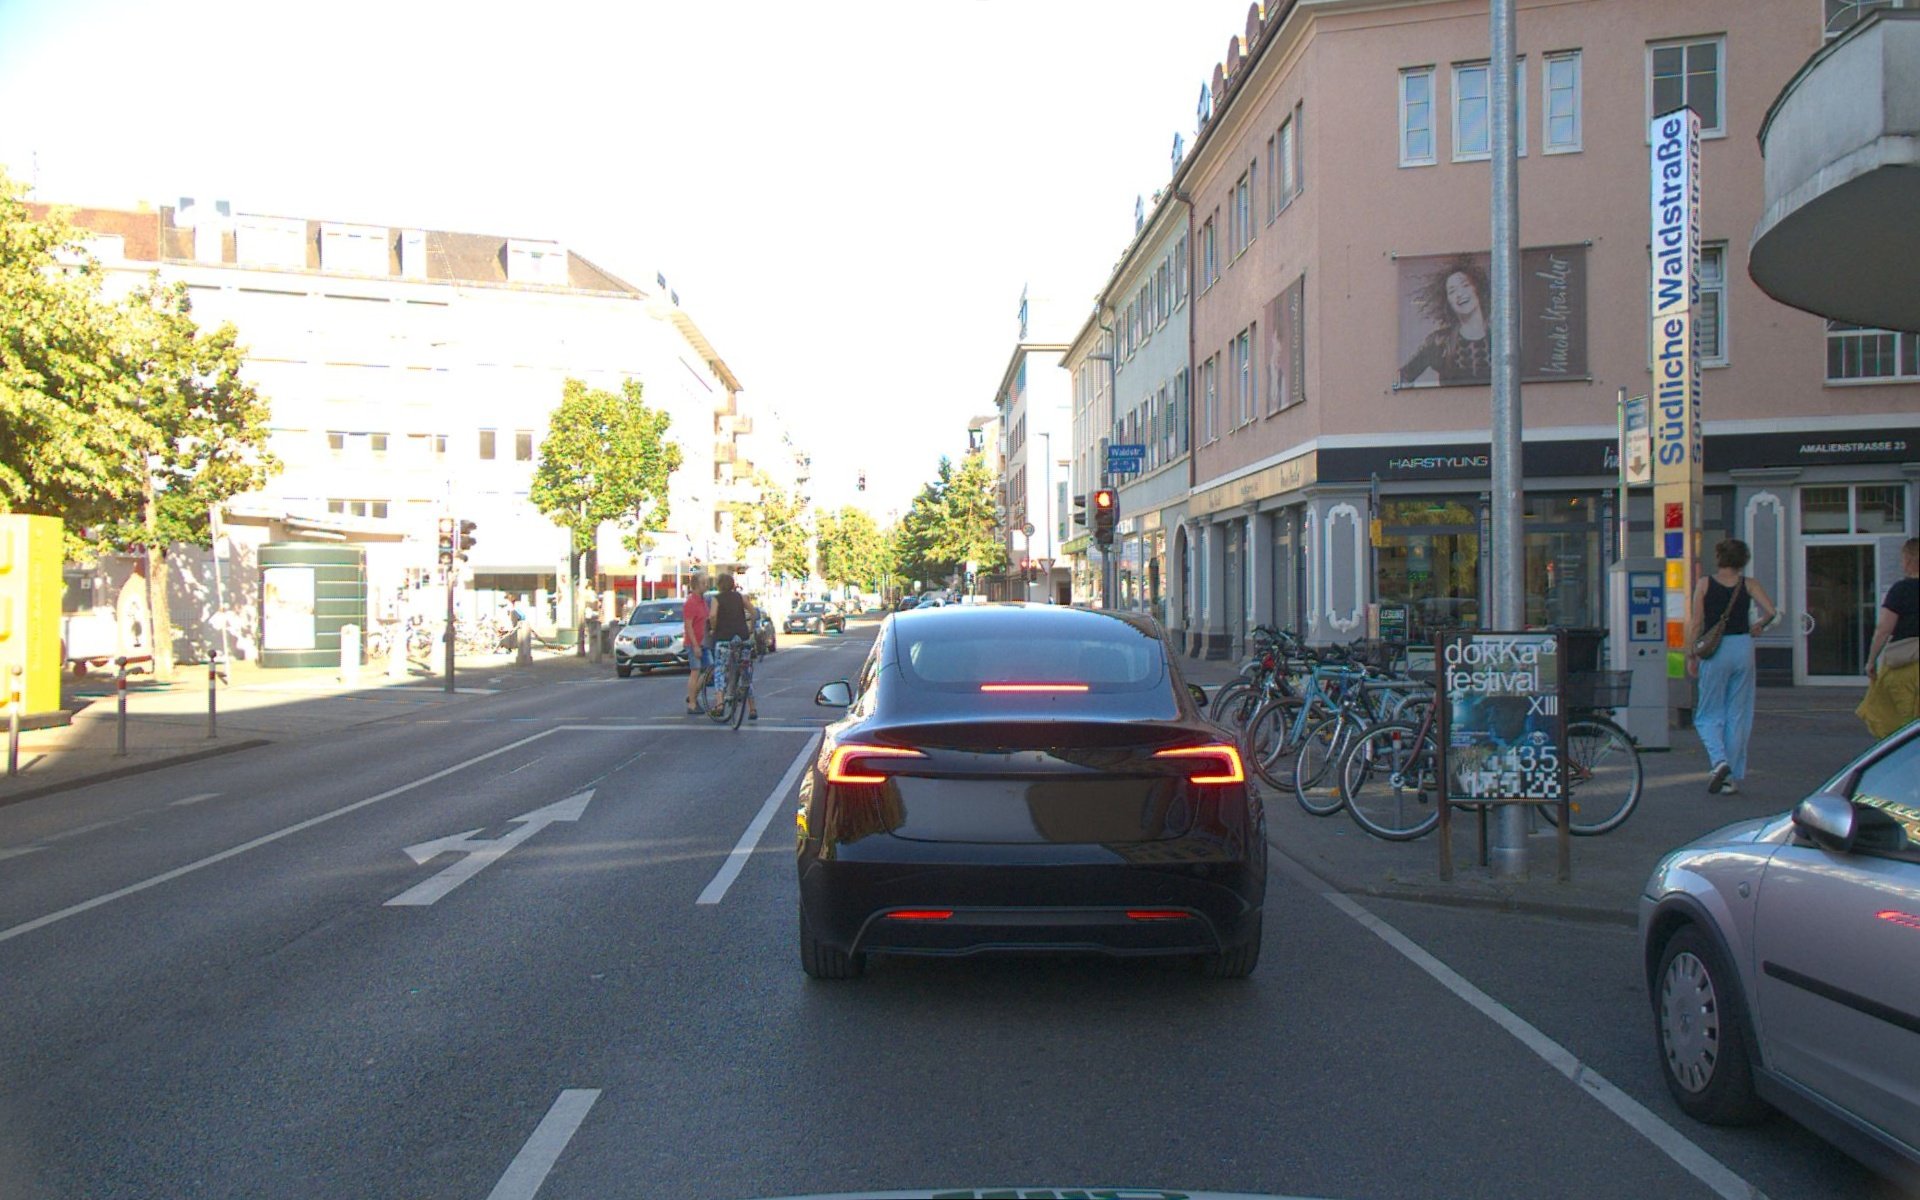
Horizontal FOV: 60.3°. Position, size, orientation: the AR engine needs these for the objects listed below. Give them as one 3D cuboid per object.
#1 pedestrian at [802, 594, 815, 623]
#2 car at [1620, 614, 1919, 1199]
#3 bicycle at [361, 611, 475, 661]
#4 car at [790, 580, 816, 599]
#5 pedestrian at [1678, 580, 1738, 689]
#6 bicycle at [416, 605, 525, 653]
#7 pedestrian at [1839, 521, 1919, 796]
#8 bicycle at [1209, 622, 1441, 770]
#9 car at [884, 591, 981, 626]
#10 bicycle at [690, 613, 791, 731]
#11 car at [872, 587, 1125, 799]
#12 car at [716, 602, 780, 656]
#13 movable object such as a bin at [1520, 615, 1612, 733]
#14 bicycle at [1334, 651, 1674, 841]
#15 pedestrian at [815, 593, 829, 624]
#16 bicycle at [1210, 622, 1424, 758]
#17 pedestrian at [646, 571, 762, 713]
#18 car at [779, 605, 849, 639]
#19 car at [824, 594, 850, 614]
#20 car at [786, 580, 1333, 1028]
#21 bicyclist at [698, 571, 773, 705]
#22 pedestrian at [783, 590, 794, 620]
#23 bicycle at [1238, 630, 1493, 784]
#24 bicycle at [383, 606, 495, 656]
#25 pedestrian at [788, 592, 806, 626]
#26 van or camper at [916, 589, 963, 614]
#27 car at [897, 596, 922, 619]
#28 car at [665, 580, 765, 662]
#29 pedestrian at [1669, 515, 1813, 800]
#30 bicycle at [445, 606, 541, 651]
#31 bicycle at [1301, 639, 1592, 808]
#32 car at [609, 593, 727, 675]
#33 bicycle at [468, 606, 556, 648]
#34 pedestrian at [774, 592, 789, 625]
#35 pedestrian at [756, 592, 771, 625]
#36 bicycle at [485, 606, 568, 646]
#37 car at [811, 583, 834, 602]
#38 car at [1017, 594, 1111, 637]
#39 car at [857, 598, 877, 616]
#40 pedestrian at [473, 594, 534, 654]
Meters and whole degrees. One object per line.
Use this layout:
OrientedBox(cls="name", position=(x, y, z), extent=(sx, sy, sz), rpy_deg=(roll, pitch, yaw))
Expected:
OrientedBox(cls="pedestrian", position=(-9.765, 0.547, 106.503), extent=(0.683, 1.900, 0.906), rpy_deg=(1, -1, -14))
OrientedBox(cls="car", position=(2.927, 0.776, 3.533), extent=(1.551, 1.451, 3.579), rpy_deg=(1, 0, -1))
OrientedBox(cls="bicycle", position=(-13.944, 0.922, 42.581), extent=(2.607, 1.216, 0.942), rpy_deg=(1, 0, -4))
OrientedBox(cls="car", position=(-17.017, -1.133, 179.401), extent=(2.228, 2.049, 4.717), rpy_deg=(1, 0, 0))
OrientedBox(cls="pedestrian", position=(10.998, 0.500, 24.353), extent=(0.706, 1.576, 0.792), rpy_deg=(1, -1, 18))
OrientedBox(cls="bicycle", position=(-13.995, 0.828, 47.320), extent=(2.818, 1.292, 0.942), rpy_deg=(1, 0, -4))
OrientedBox(cls="pedestrian", position=(6.519, 0.372, 11.153), extent=(0.706, 1.785, 0.788), rpy_deg=(-2, -1, 3))
OrientedBox(cls="bicycle", position=(2.984, 0.778, 13.635), extent=(1.776, 1.172, 0.653), rpy_deg=(0, 0, 0))
OrientedBox(cls="car", position=(-1.412, 0.435, 84.647), extent=(4.638, 1.455, 1.722), rpy_deg=(-4, 0, -25))
OrientedBox(cls="bicycle", position=(-2.550, 0.793, 19.059), extent=(0.619, 1.244, 1.985), rpy_deg=(0, 1, -24))
OrientedBox(cls="car", position=(0.249, 0.681, 14.191), extent=(1.812, 1.507, 4.450), rpy_deg=(1, 0, -1))
OrientedBox(cls="car", position=(-6.331, 0.850, 49.687), extent=(1.431, 1.455, 3.605), rpy_deg=(-3, 0, -1))
OrientedBox(cls="movable object such as a bin", position=(6.048, 0.726, 16.538), extent=(0.623, 1.122, 0.728), rpy_deg=(-2, 0, 3))
OrientedBox(cls="bicycle", position=(3.285, 0.869, 10.087), extent=(1.844, 1.062, 0.653), rpy_deg=(-1, 0, 0))
OrientedBox(cls="pedestrian", position=(-8.572, 0.552, 102.729), extent=(0.759, 1.900, 1.007), rpy_deg=(1, -1, -7))
OrientedBox(cls="bicycle", position=(3.168, 0.786, 14.773), extent=(1.776, 1.172, 0.653), rpy_deg=(0, 0, 0))
OrientedBox(cls="pedestrian", position=(-3.274, 0.524, 21.237), extent=(1.086, 1.750, 1.062), rpy_deg=(1, -1, 19))
OrientedBox(cls="car", position=(-6.406, 0.969, 72.940), extent=(1.658, 1.414, 3.917), rpy_deg=(1, 0, 19))
OrientedBox(cls="car", position=(-12.343, 0.391, 166.258), extent=(2.365, 2.004, 4.677), rpy_deg=(0, 0, -1))
OrientedBox(cls="car", position=(0.305, 0.695, 7.767), extent=(1.812, 1.472, 4.450), rpy_deg=(1, 0, -1))
OrientedBox(cls="bicyclist", position=(-2.617, 0.429, 19.224), extent=(0.598, 1.510, 0.951), rpy_deg=(1, -1, -25))
OrientedBox(cls="pedestrian", position=(-10.764, 0.309, 103.710), extent=(0.681, 1.900, 0.658), rpy_deg=(1, -1, -6))
OrientedBox(cls="bicycle", position=(3.055, 0.799, 12.563), extent=(1.776, 1.121, 0.653), rpy_deg=(0, 0, 0))
OrientedBox(cls="bicycle", position=(-14.119, 0.841, 44.918), extent=(2.725, 1.296, 0.932), rpy_deg=(1, 0, -4))
OrientedBox(cls="pedestrian", position=(-9.294, 0.505, 94.397), extent=(0.719, 1.900, 0.790), rpy_deg=(1, -1, 28))
OrientedBox(cls="van or camper", position=(-2.067, 0.166, 167.515), extent=(4.752, 2.481, 1.850), rpy_deg=(0, 0, -1))
OrientedBox(cls="car", position=(-4.091, 0.623, 134.811), extent=(1.994, 1.819, 4.005), rpy_deg=(0, 0, -1))
OrientedBox(cls="car", position=(-6.226, 0.502, 42.561), extent=(1.906, 1.981, 4.819), rpy_deg=(0, 0, -1))
OrientedBox(cls="pedestrian", position=(5.420, 0.389, 11.526), extent=(0.666, 1.882, 0.894), rpy_deg=(-4, -1, 16))
OrientedBox(cls="bicycle", position=(-14.005, 0.843, 49.638), extent=(2.609, 1.281, 0.942), rpy_deg=(1, 0, -4))
OrientedBox(cls="bicycle", position=(3.256, 0.817, 11.159), extent=(1.776, 1.078, 0.653), rpy_deg=(0, 0, 0))
OrientedBox(cls="car", position=(-6.318, 0.707, 36.233), extent=(1.788, 1.592, 4.299), rpy_deg=(-4, 0, -1))
OrientedBox(cls="bicycle", position=(-14.057, 0.847, 51.913), extent=(2.491, 1.273, 0.942), rpy_deg=(1, 0, -4))
OrientedBox(cls="pedestrian", position=(-10.474, 0.496, 97.158), extent=(0.721, 1.900, 0.787), rpy_deg=(1, -1, -17))
OrientedBox(cls="pedestrian", position=(-11.500, 0.477, 96.727), extent=(0.721, 1.900, 0.787), rpy_deg=(1, -1, -17))
OrientedBox(cls="bicycle", position=(-14.223, 0.854, 54.334), extent=(2.491, 1.273, 0.942), rpy_deg=(1, 0, -4))
OrientedBox(cls="car", position=(-15.601, -0.821, 188.057), extent=(2.228, 2.049, 4.717), rpy_deg=(1, 0, 0))
OrientedBox(cls="car", position=(4.716, 0.697, 74.737), extent=(3.937, 1.900, 1.686), rpy_deg=(0, 0, -22))
OrientedBox(cls="car", position=(-10.501, 0.825, 186.962), extent=(2.089, 2.004, 4.133), rpy_deg=(0, 0, -1))
OrientedBox(cls="pedestrian", position=(-12.919, 0.675, 46.817), extent=(1.074, 1.639, 1.261), rpy_deg=(1, -1, 36))
